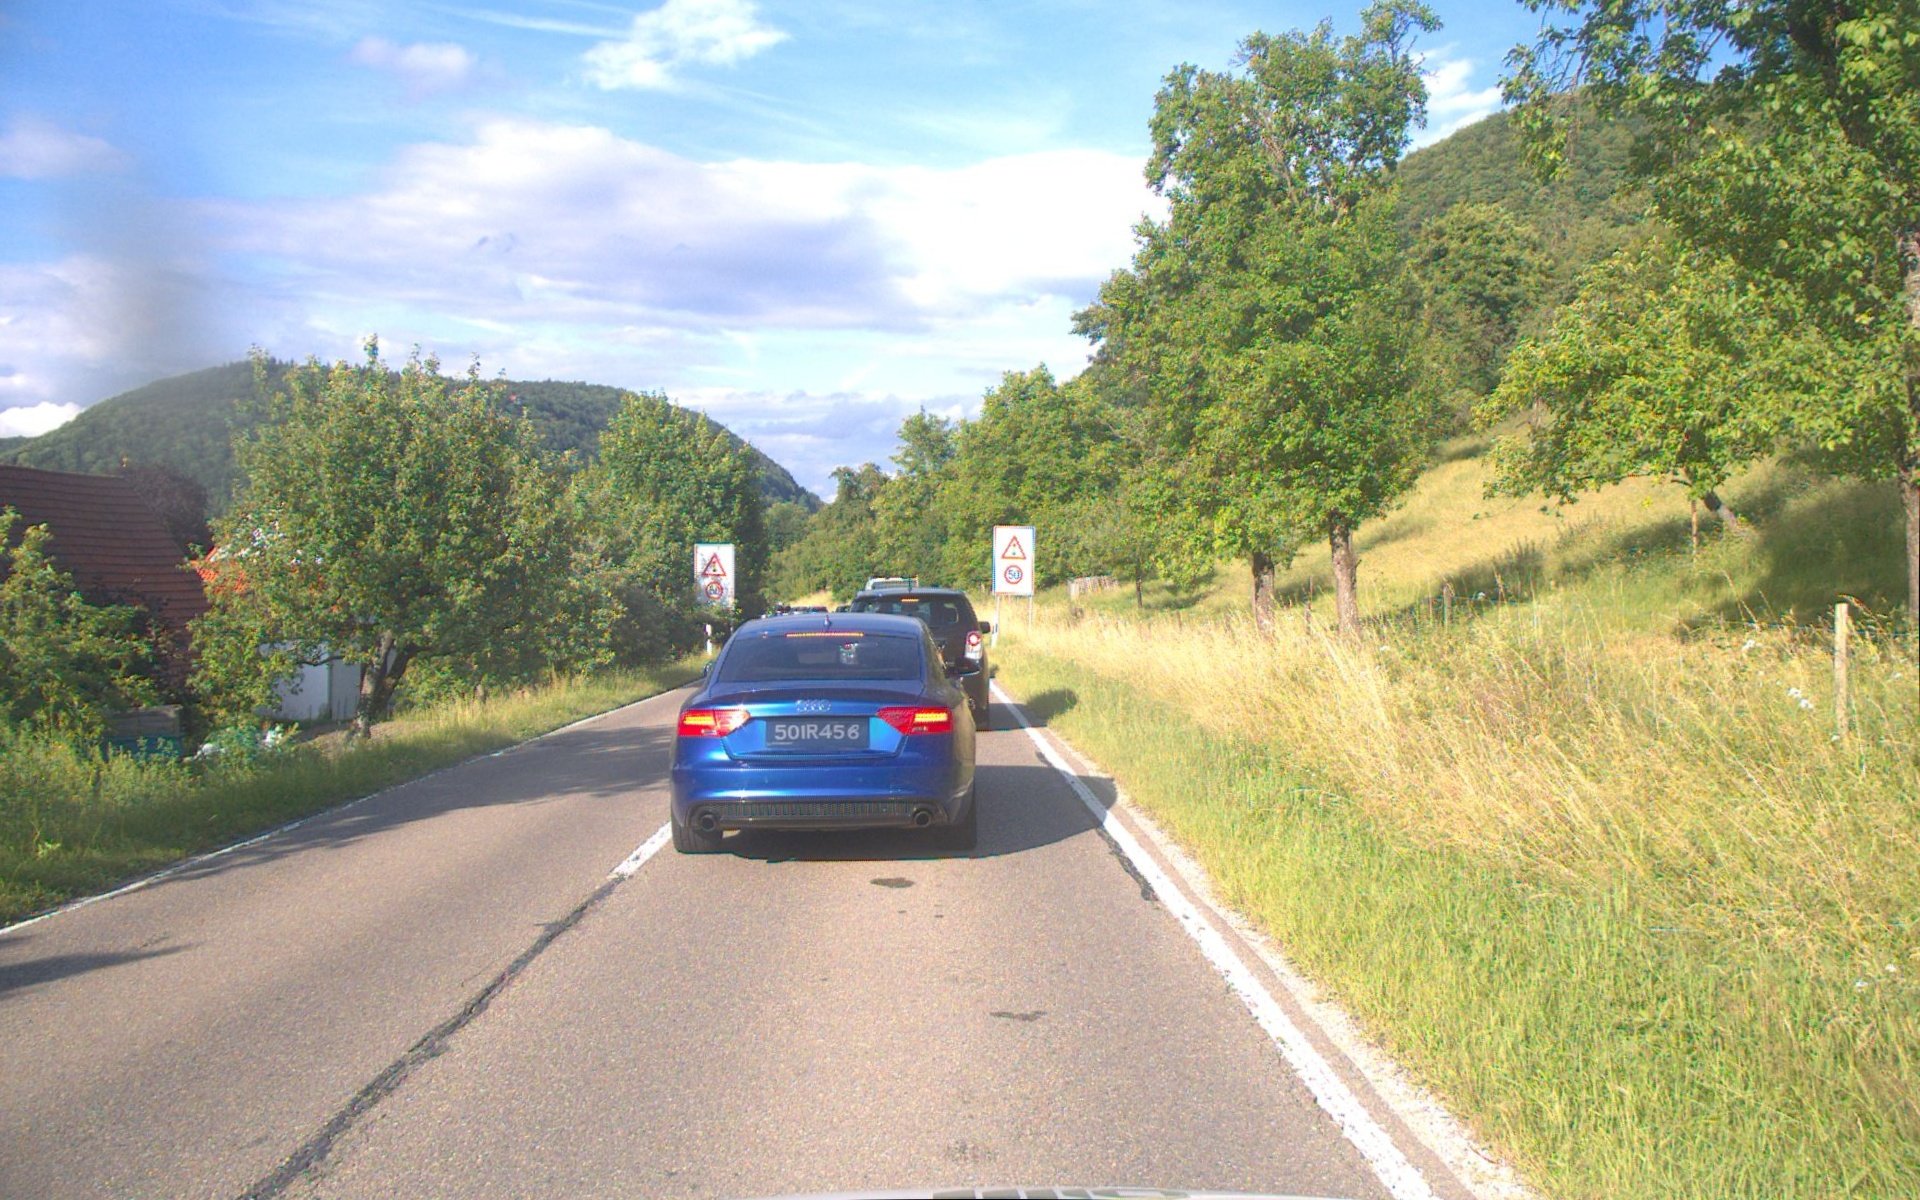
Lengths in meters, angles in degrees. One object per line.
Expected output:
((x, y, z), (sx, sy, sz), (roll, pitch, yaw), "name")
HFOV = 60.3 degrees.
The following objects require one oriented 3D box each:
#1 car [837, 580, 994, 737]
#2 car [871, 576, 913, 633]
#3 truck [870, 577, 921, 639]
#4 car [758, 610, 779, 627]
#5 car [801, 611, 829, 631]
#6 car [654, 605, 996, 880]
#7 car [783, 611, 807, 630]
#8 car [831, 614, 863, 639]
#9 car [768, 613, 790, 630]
((-0.525, 0.611, 19.530), (1.658, 1.652, 3.788), (1, 0, -2), "car")
((-3.179, 0.204, 76.983), (1.757, 2.496, 3.916), (2, 0, -4), "car")
((-2.615, 0.306, 67.517), (1.911, 2.386, 5.091), (2, 0, -2), "truck")
((-18.654, 1.786, 160.664), (1.532, 1.522, 3.765), (2, 0, -14), "car")
((-11.642, 1.668, 132.633), (1.717, 1.522, 3.767), (2, 0, -12), "car")
((-0.744, 0.750, 10.751), (1.769, 1.406, 4.213), (-1, 0, -1), "car")
((-14.276, 1.750, 142.889), (1.532, 1.522, 3.766), (2, 0, -13), "car")
((-7.623, 1.782, 111.236), (1.716, 1.522, 3.769), (2, 0, -10), "car")
((-16.752, 1.980, 153.011), (1.532, 1.522, 3.765), (2, 0, -14), "car")
